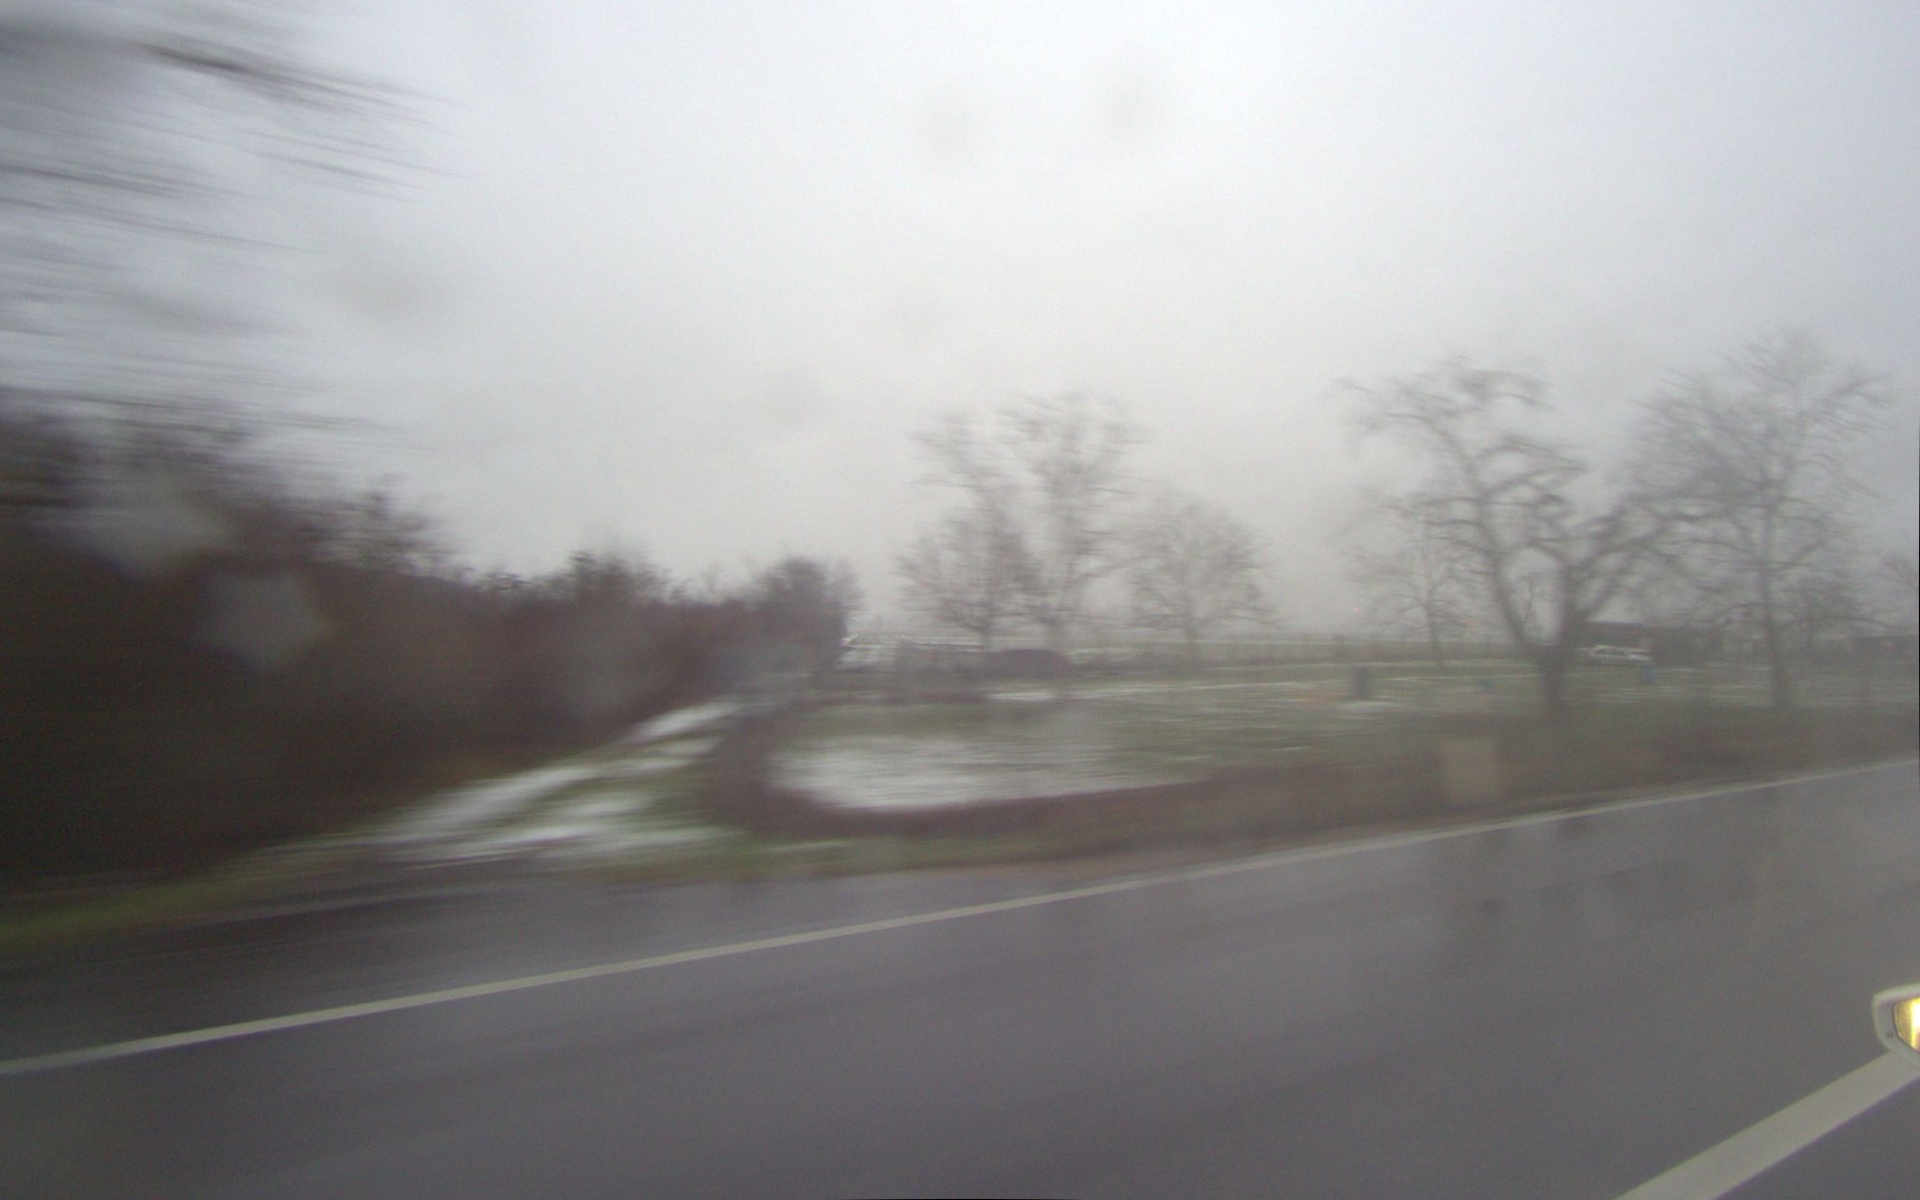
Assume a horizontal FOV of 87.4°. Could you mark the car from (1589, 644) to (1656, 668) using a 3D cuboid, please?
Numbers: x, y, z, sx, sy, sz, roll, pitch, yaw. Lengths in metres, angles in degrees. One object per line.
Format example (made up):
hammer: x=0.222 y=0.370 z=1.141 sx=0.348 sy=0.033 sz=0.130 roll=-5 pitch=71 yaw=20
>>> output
car: x=43.366 y=3.628 z=65.821 sx=1.588 sy=1.360 sz=3.407 roll=2 pitch=0 yaw=-44
